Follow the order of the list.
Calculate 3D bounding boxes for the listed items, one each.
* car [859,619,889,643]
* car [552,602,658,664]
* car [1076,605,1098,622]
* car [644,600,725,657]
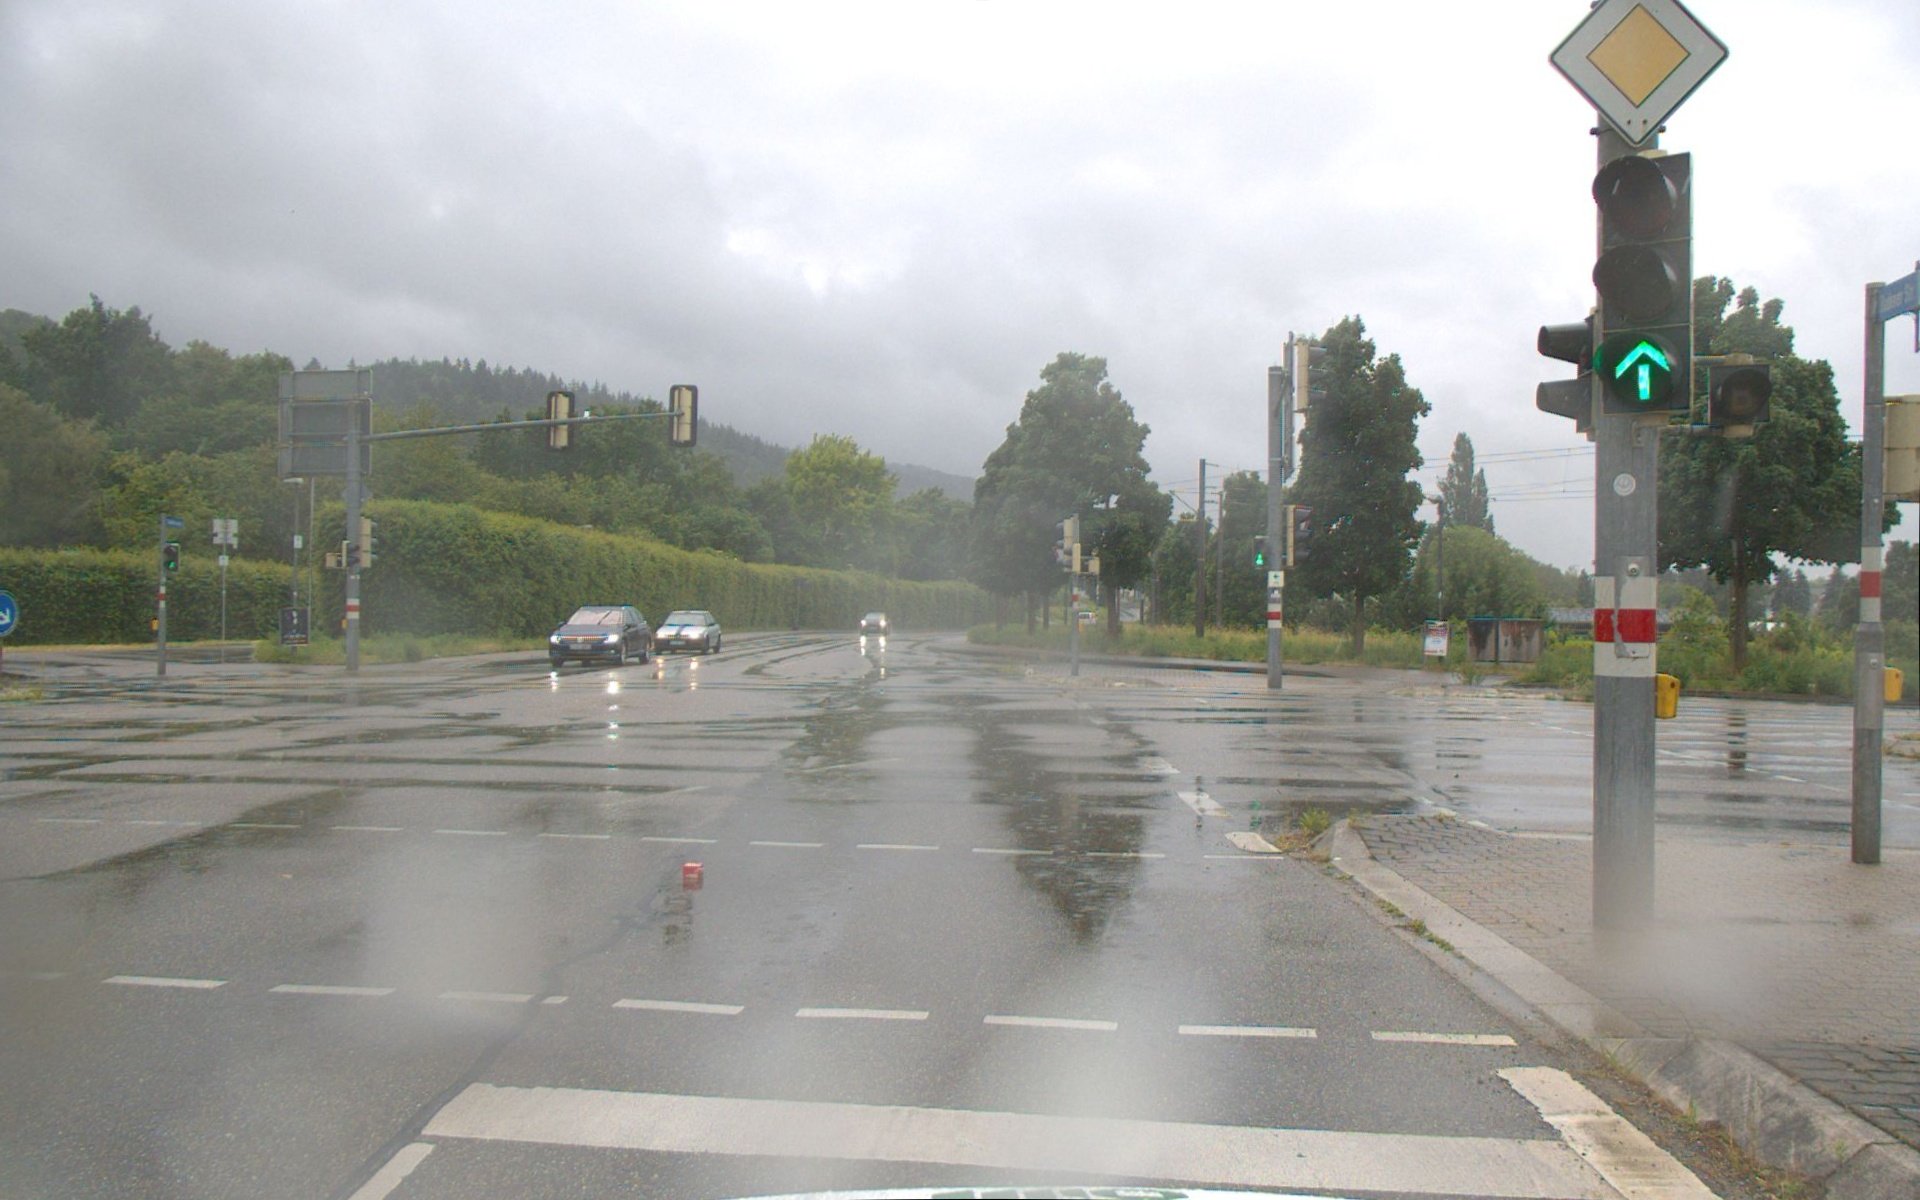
[{"bbox_3d":[-5.722,2.092,110.516,1.748,1.531,4.060,1,-2,0],"label":"car"},{"bbox_3d":[-8.944,0.800,41.989,1.673,1.491,4.453,0,0,1],"label":"car"},{"bbox_3d":[14.523,1.515,189.232,1.912,1.937,4.123,0,0,13],"label":"car"},{"bbox_3d":[-8.874,0.893,53.591,1.995,1.738,4.065,1,0,-1],"label":"car"}]
